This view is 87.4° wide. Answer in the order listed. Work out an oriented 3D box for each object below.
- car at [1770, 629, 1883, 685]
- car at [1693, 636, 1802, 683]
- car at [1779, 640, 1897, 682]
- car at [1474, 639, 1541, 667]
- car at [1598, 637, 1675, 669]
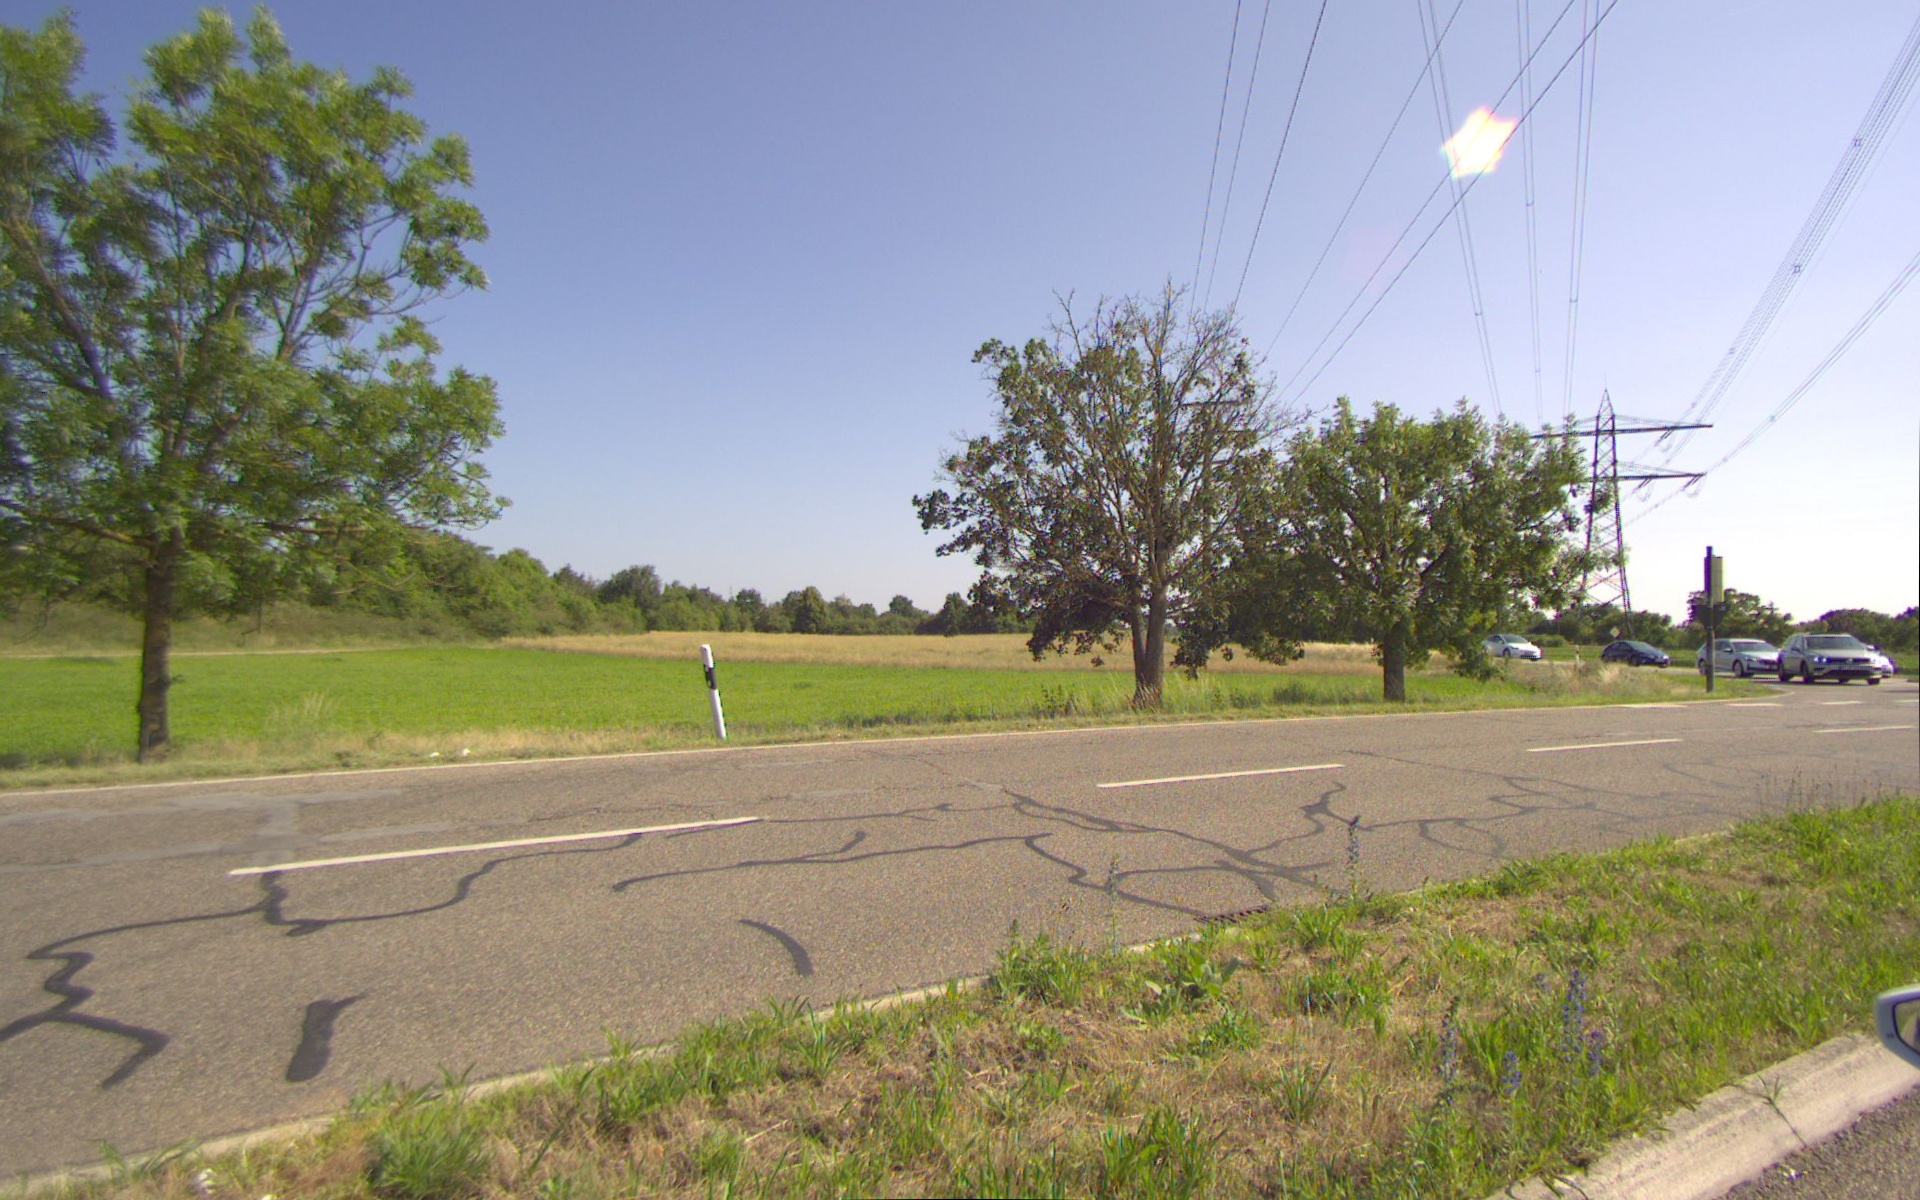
[{"bbox_3d":[28.006,1.793,32.606,1.786,1.673,3.997,0,-2,26],"label":"car"},{"bbox_3d":[30.332,2.242,38.829,1.783,1.673,4.003,1,-2,13],"label":"car"},{"bbox_3d":[38.760,2.664,44.487,1.784,1.673,4.001,1,-1,1],"label":"car"},{"bbox_3d":[35.297,3.385,64.922,1.784,1.673,4.762,1,-1,1],"label":"car"},{"bbox_3d":[38.875,3.017,57.839,1.784,1.673,4.001,1,-1,1],"label":"car"}]
